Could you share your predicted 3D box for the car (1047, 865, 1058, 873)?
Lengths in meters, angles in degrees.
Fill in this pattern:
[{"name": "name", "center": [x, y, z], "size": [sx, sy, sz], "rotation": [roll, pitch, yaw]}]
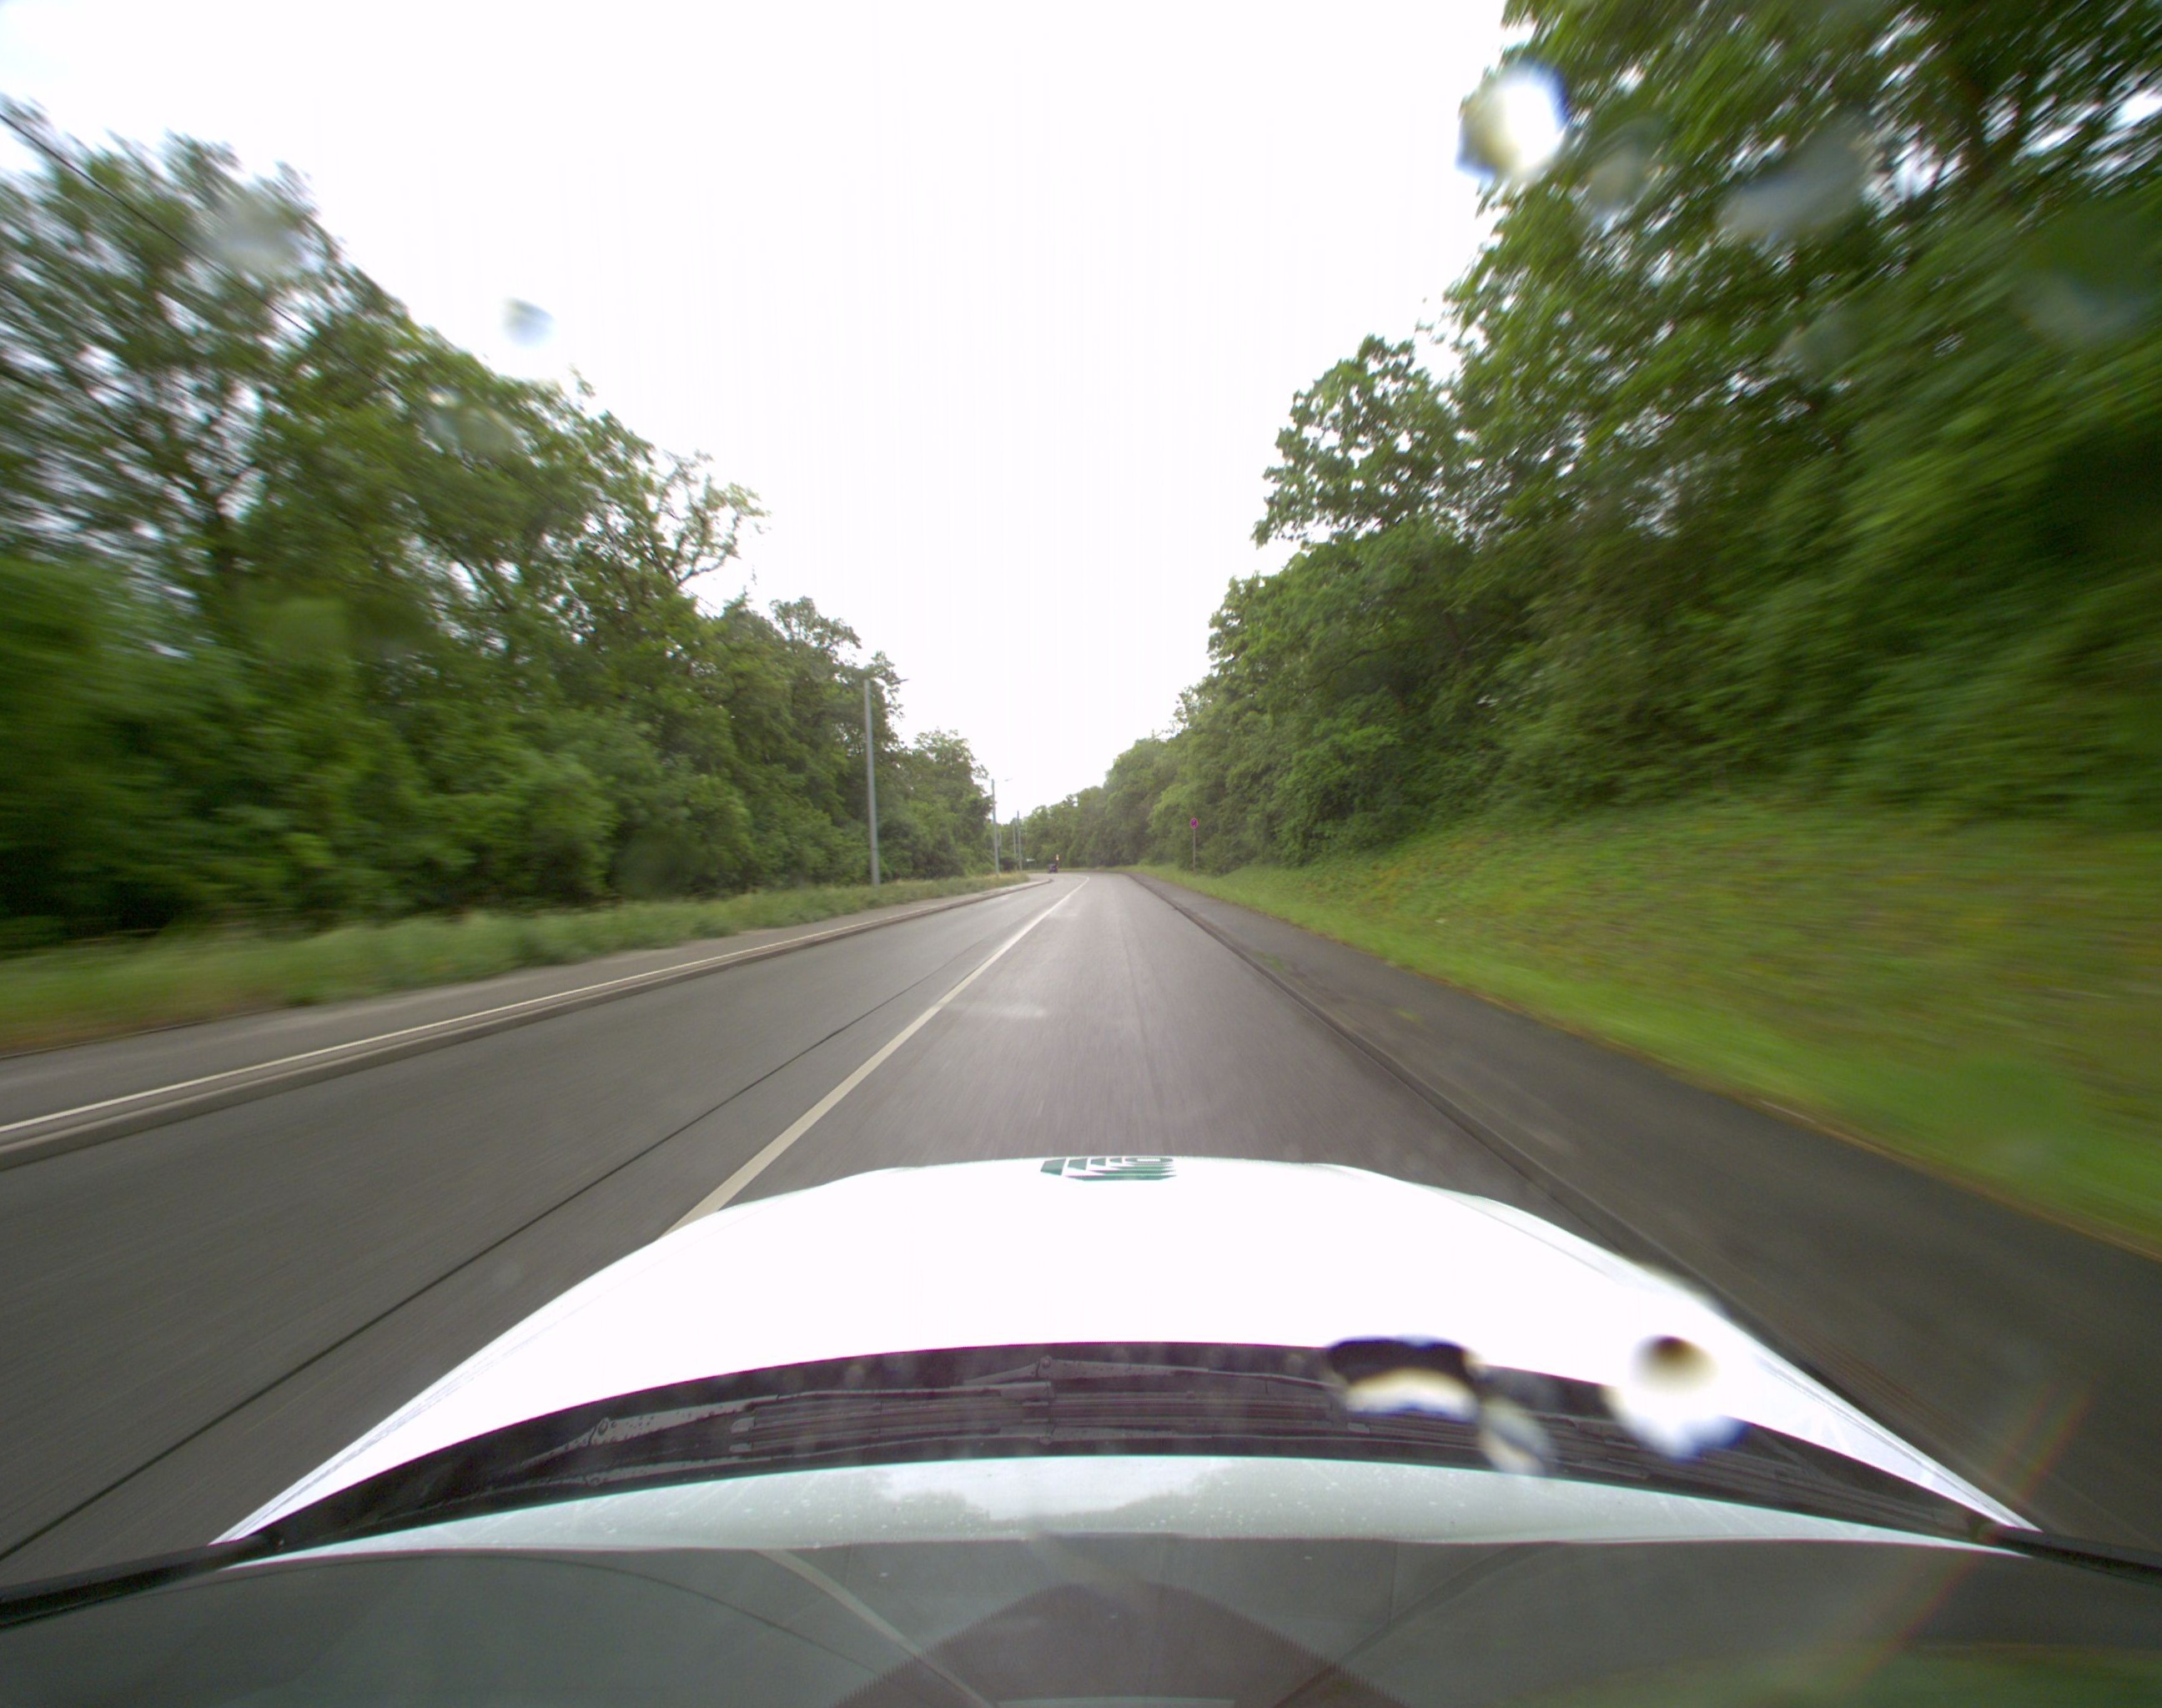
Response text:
[{"name": "car", "center": [-5.851, 3.194, 167.415], "size": [1.865, 1.596, 3.992], "rotation": [1, -1, -5]}]
